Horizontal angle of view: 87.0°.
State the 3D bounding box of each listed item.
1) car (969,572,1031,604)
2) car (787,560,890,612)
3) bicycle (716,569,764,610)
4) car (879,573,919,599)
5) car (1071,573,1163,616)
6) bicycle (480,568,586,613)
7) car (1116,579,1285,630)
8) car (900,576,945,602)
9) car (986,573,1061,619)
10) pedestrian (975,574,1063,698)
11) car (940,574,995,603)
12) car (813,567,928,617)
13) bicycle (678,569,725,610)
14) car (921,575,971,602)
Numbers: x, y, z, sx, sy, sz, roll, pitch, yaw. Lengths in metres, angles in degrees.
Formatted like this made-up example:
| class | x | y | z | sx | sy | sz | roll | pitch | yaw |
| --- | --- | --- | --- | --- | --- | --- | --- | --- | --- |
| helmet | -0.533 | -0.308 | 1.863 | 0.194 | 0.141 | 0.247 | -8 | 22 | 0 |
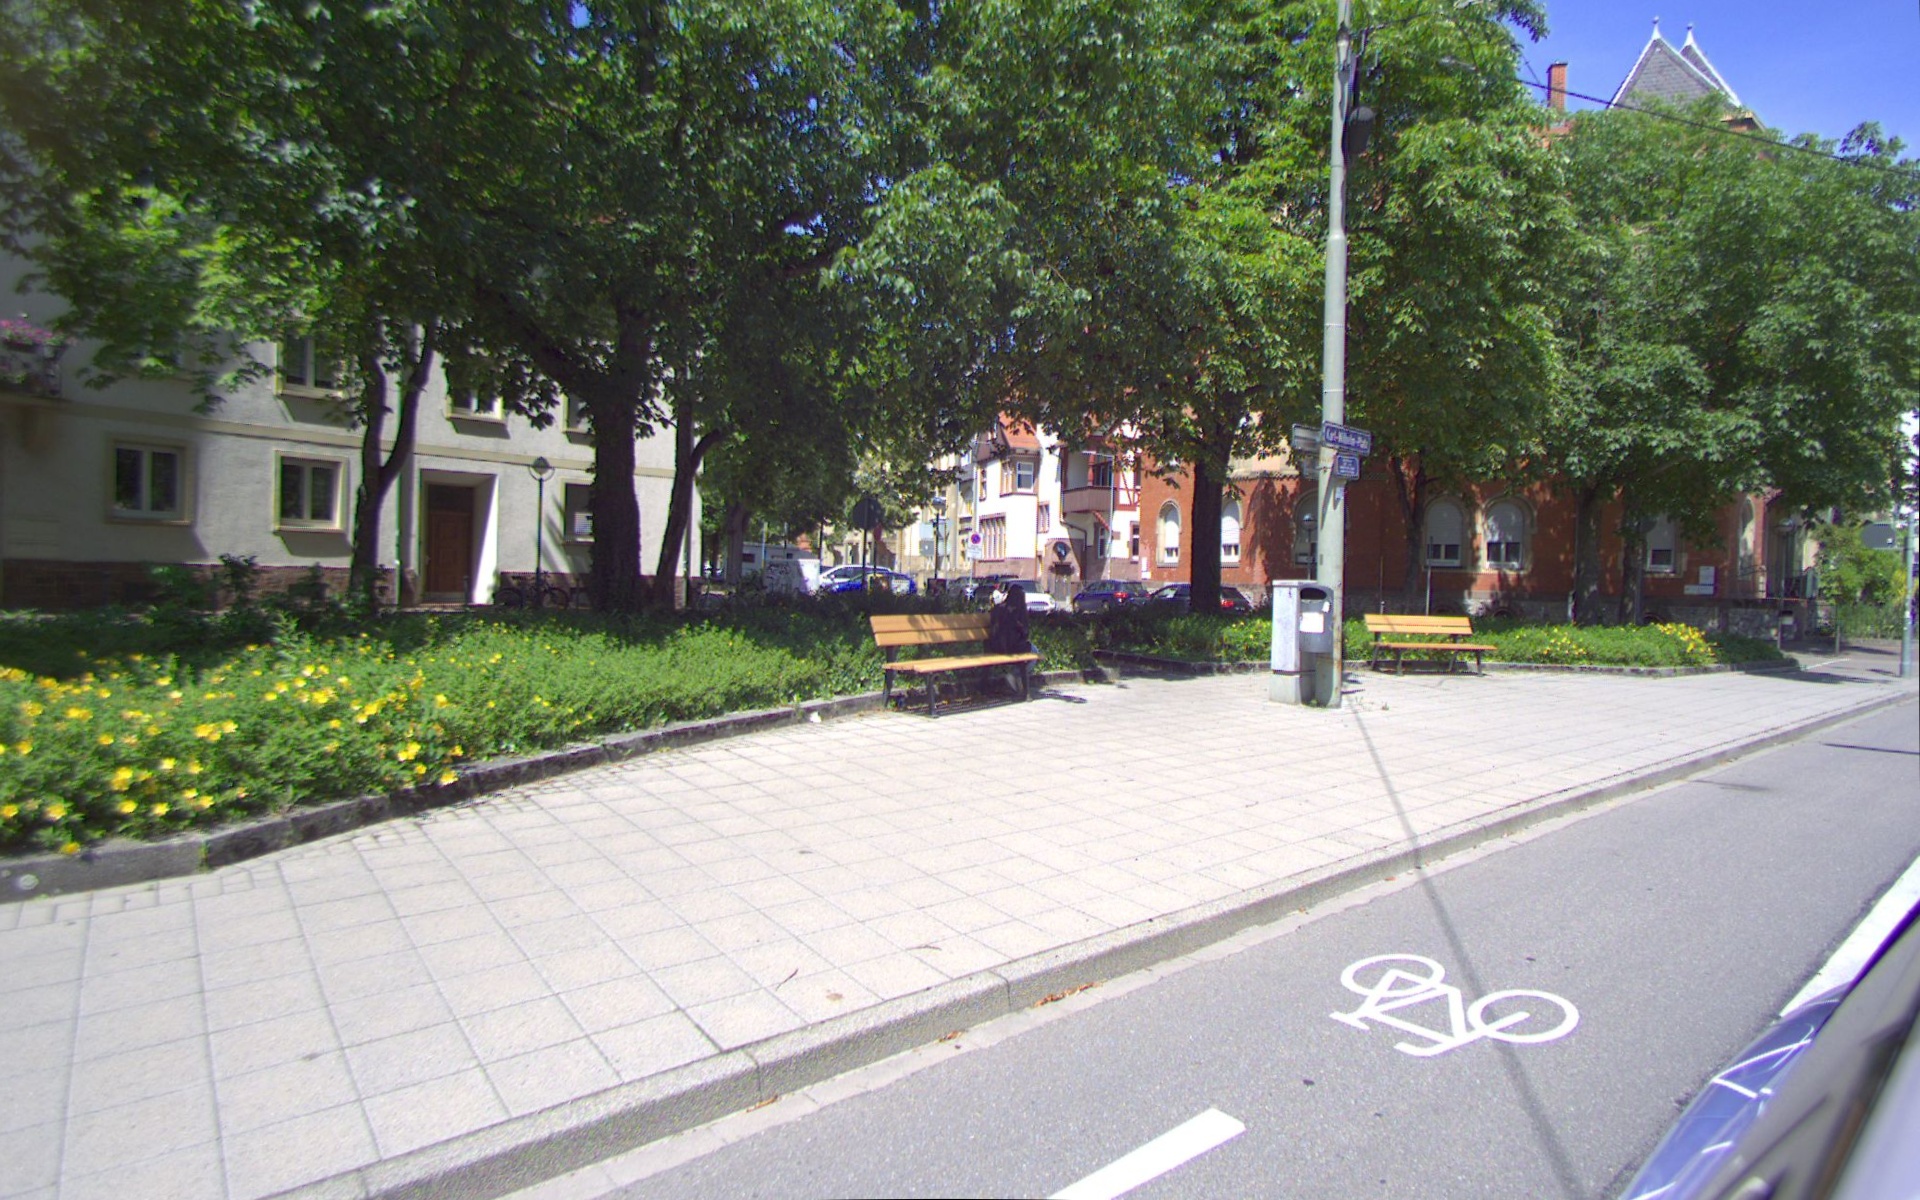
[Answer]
| class | x | y | z | sx | sy | sz | roll | pitch | yaw |
| --- | --- | --- | --- | --- | --- | --- | --- | --- | --- |
| car | 2.060 | -0.629 | 54.072 | 1.897 | 1.638 | 4.318 | 0 | 0 | -19 |
| car | -5.378 | -0.637 | 44.825 | 4.219 | 2.219 | 1.942 | 0 | 0 | -18 |
| bicycle | -5.873 | -0.275 | 26.901 | 0.736 | 1.024 | 2.273 | 0 | 0 | -26 |
| car | -4.508 | -1.018 | 74.458 | 1.897 | 1.897 | 4.318 | 0 | 0 | -19 |
| car | 6.269 | -0.241 | 41.022 | 1.897 | 1.638 | 4.318 | 0 | 0 | -19 |
| bicycle | -10.258 | -0.229 | 24.372 | 2.230 | 1.024 | 0.751 | -1 | 0 | -41 |
| car | 7.577 | 0.125 | 32.297 | 5.020 | 1.501 | 1.907 | 0 | 1 | 45 |
| car | -2.572 | -0.738 | 67.946 | 1.897 | 1.638 | 4.318 | 0 | 0 | -19 |
| car | 2.194 | -0.161 | 36.038 | 1.670 | 1.525 | 3.659 | 2 | 1 | -13 |
| pedestrian | 0.593 | 0.331 | 10.071 | 0.562 | 1.156 | 0.718 | 3 | 2 | 33 |
| car | 0.374 | -0.665 | 58.679 | 1.897 | 1.638 | 4.318 | 0 | 0 | -19 |
| car | -3.550 | -0.330 | 40.013 | 4.219 | 1.903 | 1.942 | 0 | 0 | -18 |
| bicycle | -6.781 | -0.267 | 26.472 | 0.736 | 1.024 | 2.273 | 0 | 0 | -26 |
| car | -0.925 | -0.702 | 63.249 | 1.897 | 1.638 | 4.318 | 0 | 0 | -19 |
